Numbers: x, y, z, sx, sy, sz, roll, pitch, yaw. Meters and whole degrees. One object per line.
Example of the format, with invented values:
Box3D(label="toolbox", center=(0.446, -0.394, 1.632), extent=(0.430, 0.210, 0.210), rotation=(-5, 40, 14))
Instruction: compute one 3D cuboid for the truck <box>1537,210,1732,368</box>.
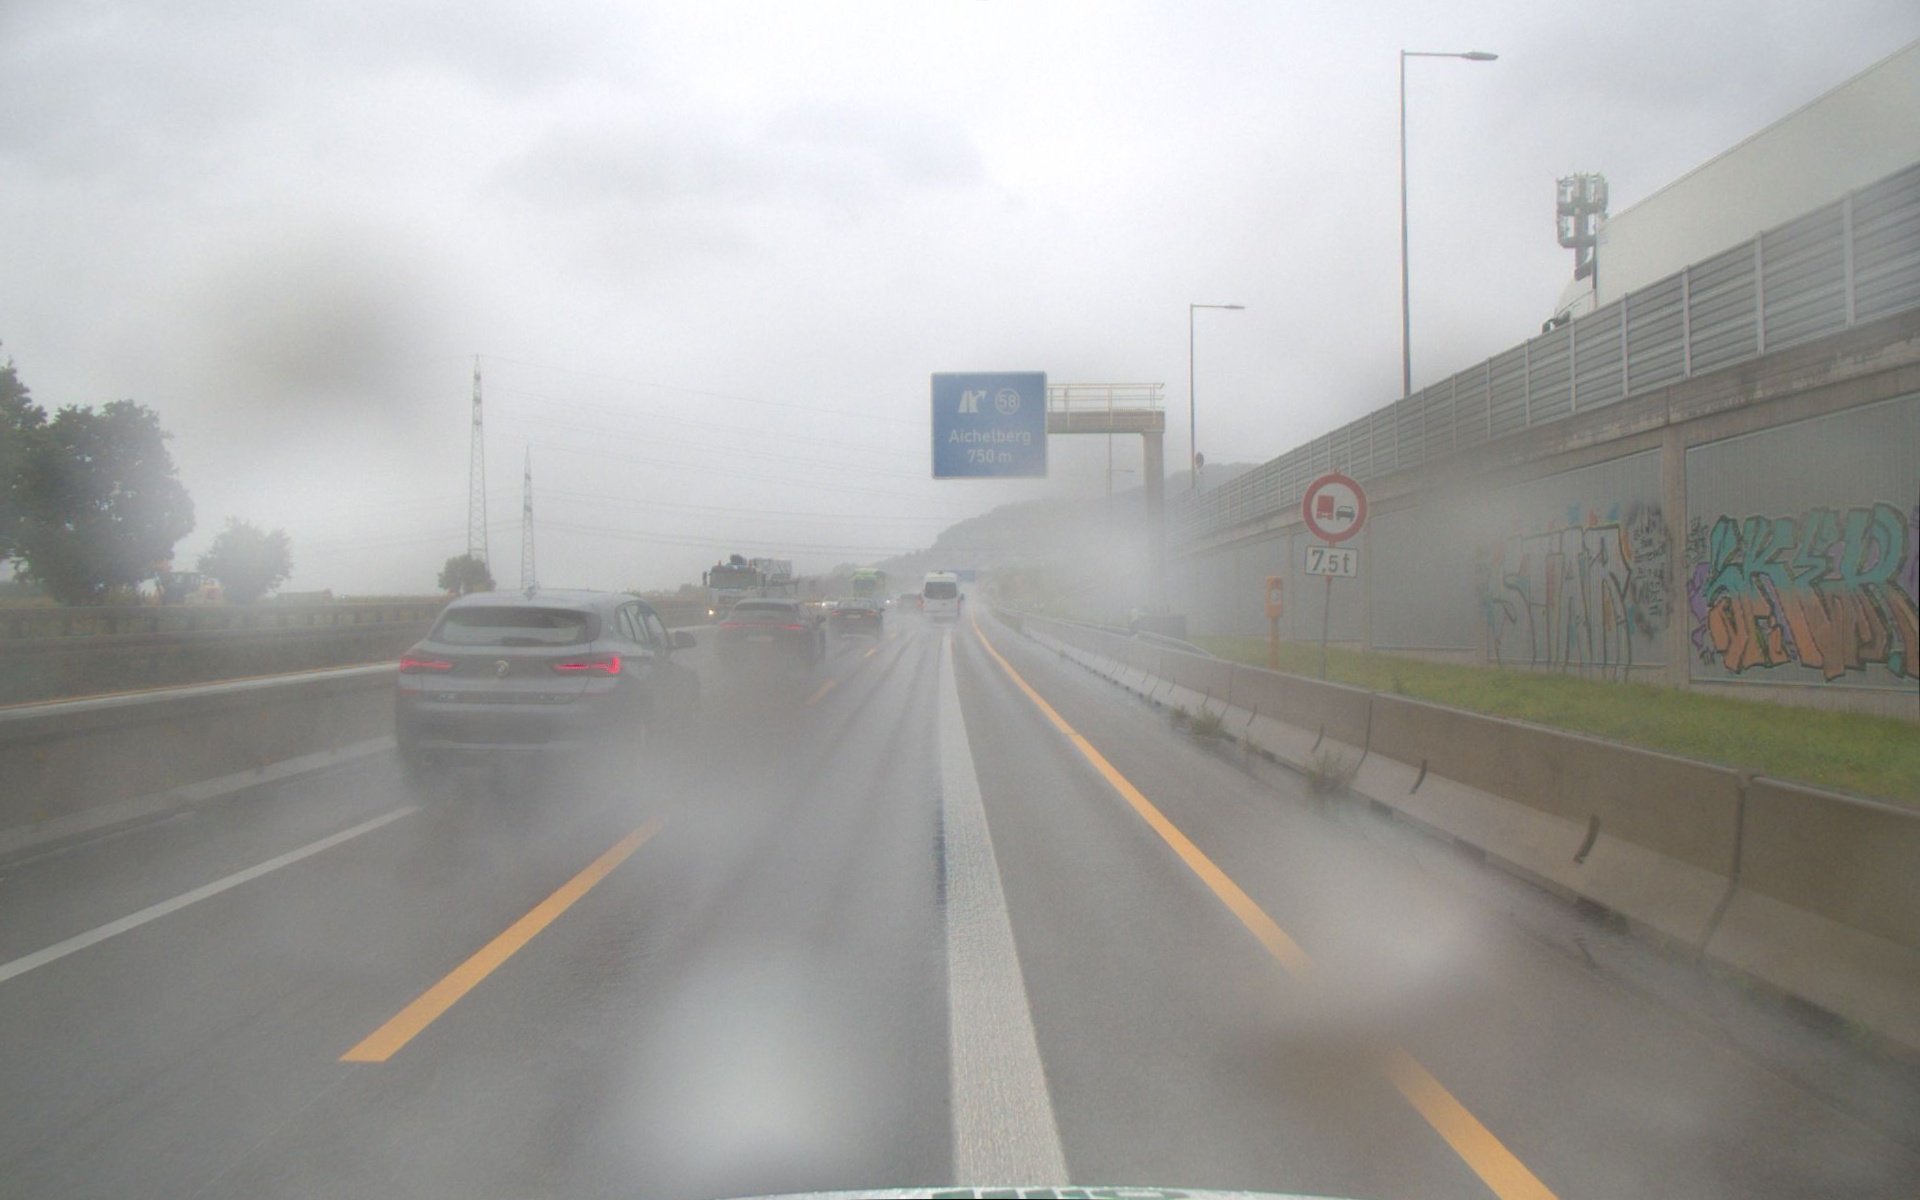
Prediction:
Box3D(label="truck", center=(12.360, -5.656, 30.613), extent=(1.953, 2.049, 4.057), rotation=(1, -1, 0))

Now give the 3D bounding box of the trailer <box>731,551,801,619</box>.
Box3D(label="trailer", center=(-10.457, -0.790, 90.041), extent=(2.607, 3.421, 9.713), rotation=(1, 0, 0))

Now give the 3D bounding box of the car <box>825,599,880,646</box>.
Box3D(label="car", center=(-3.778, 0.759, 58.339), extent=(1.808, 1.517, 4.258), rotation=(-2, 0, -4))

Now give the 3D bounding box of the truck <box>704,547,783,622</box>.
Box3D(label="truck", center=(-10.414, -0.737, 80.440), extent=(2.585, 3.406, 9.552), rotation=(1, 0, 0))

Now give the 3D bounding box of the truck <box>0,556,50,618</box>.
Box3D(label="truck", center=(-43.708, -0.598, 72.596), extent=(2.463, 2.751, 8.902), rotation=(1, 0, 1))

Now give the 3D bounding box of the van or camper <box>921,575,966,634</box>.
Box3D(label="van or camper", center=(-0.819, 0.261, 81.152), extent=(1.957, 2.826, 4.046), rotation=(1, -1, -4))

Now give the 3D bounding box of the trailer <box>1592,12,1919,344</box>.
Box3D(label="trailer", center=(12.429, -5.871, 23.040), extent=(1.953, 2.143, 13.765), rotation=(1, -1, 0))

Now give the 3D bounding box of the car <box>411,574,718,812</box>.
Box3D(label="car", center=(-3.077, 0.699, 13.829), extent=(1.667, 1.626, 4.841), rotation=(1, -1, -4))

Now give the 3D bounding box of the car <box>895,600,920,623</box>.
Box3D(label="car", center=(-3.791, 0.829, 119.674), extent=(1.536, 1.506, 2.818), rotation=(-2, -2, -6))

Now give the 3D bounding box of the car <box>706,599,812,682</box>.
Box3D(label="car", center=(-3.902, 0.797, 32.638), extent=(1.808, 1.517, 4.258), rotation=(1, -1, -4))

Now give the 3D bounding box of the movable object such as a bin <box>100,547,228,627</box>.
Box3D(label="movable object such as a bin", center=(-42.077, -0.595, 87.802), extent=(2.673, 3.988, 8.462), rotation=(1, -1, 0))
